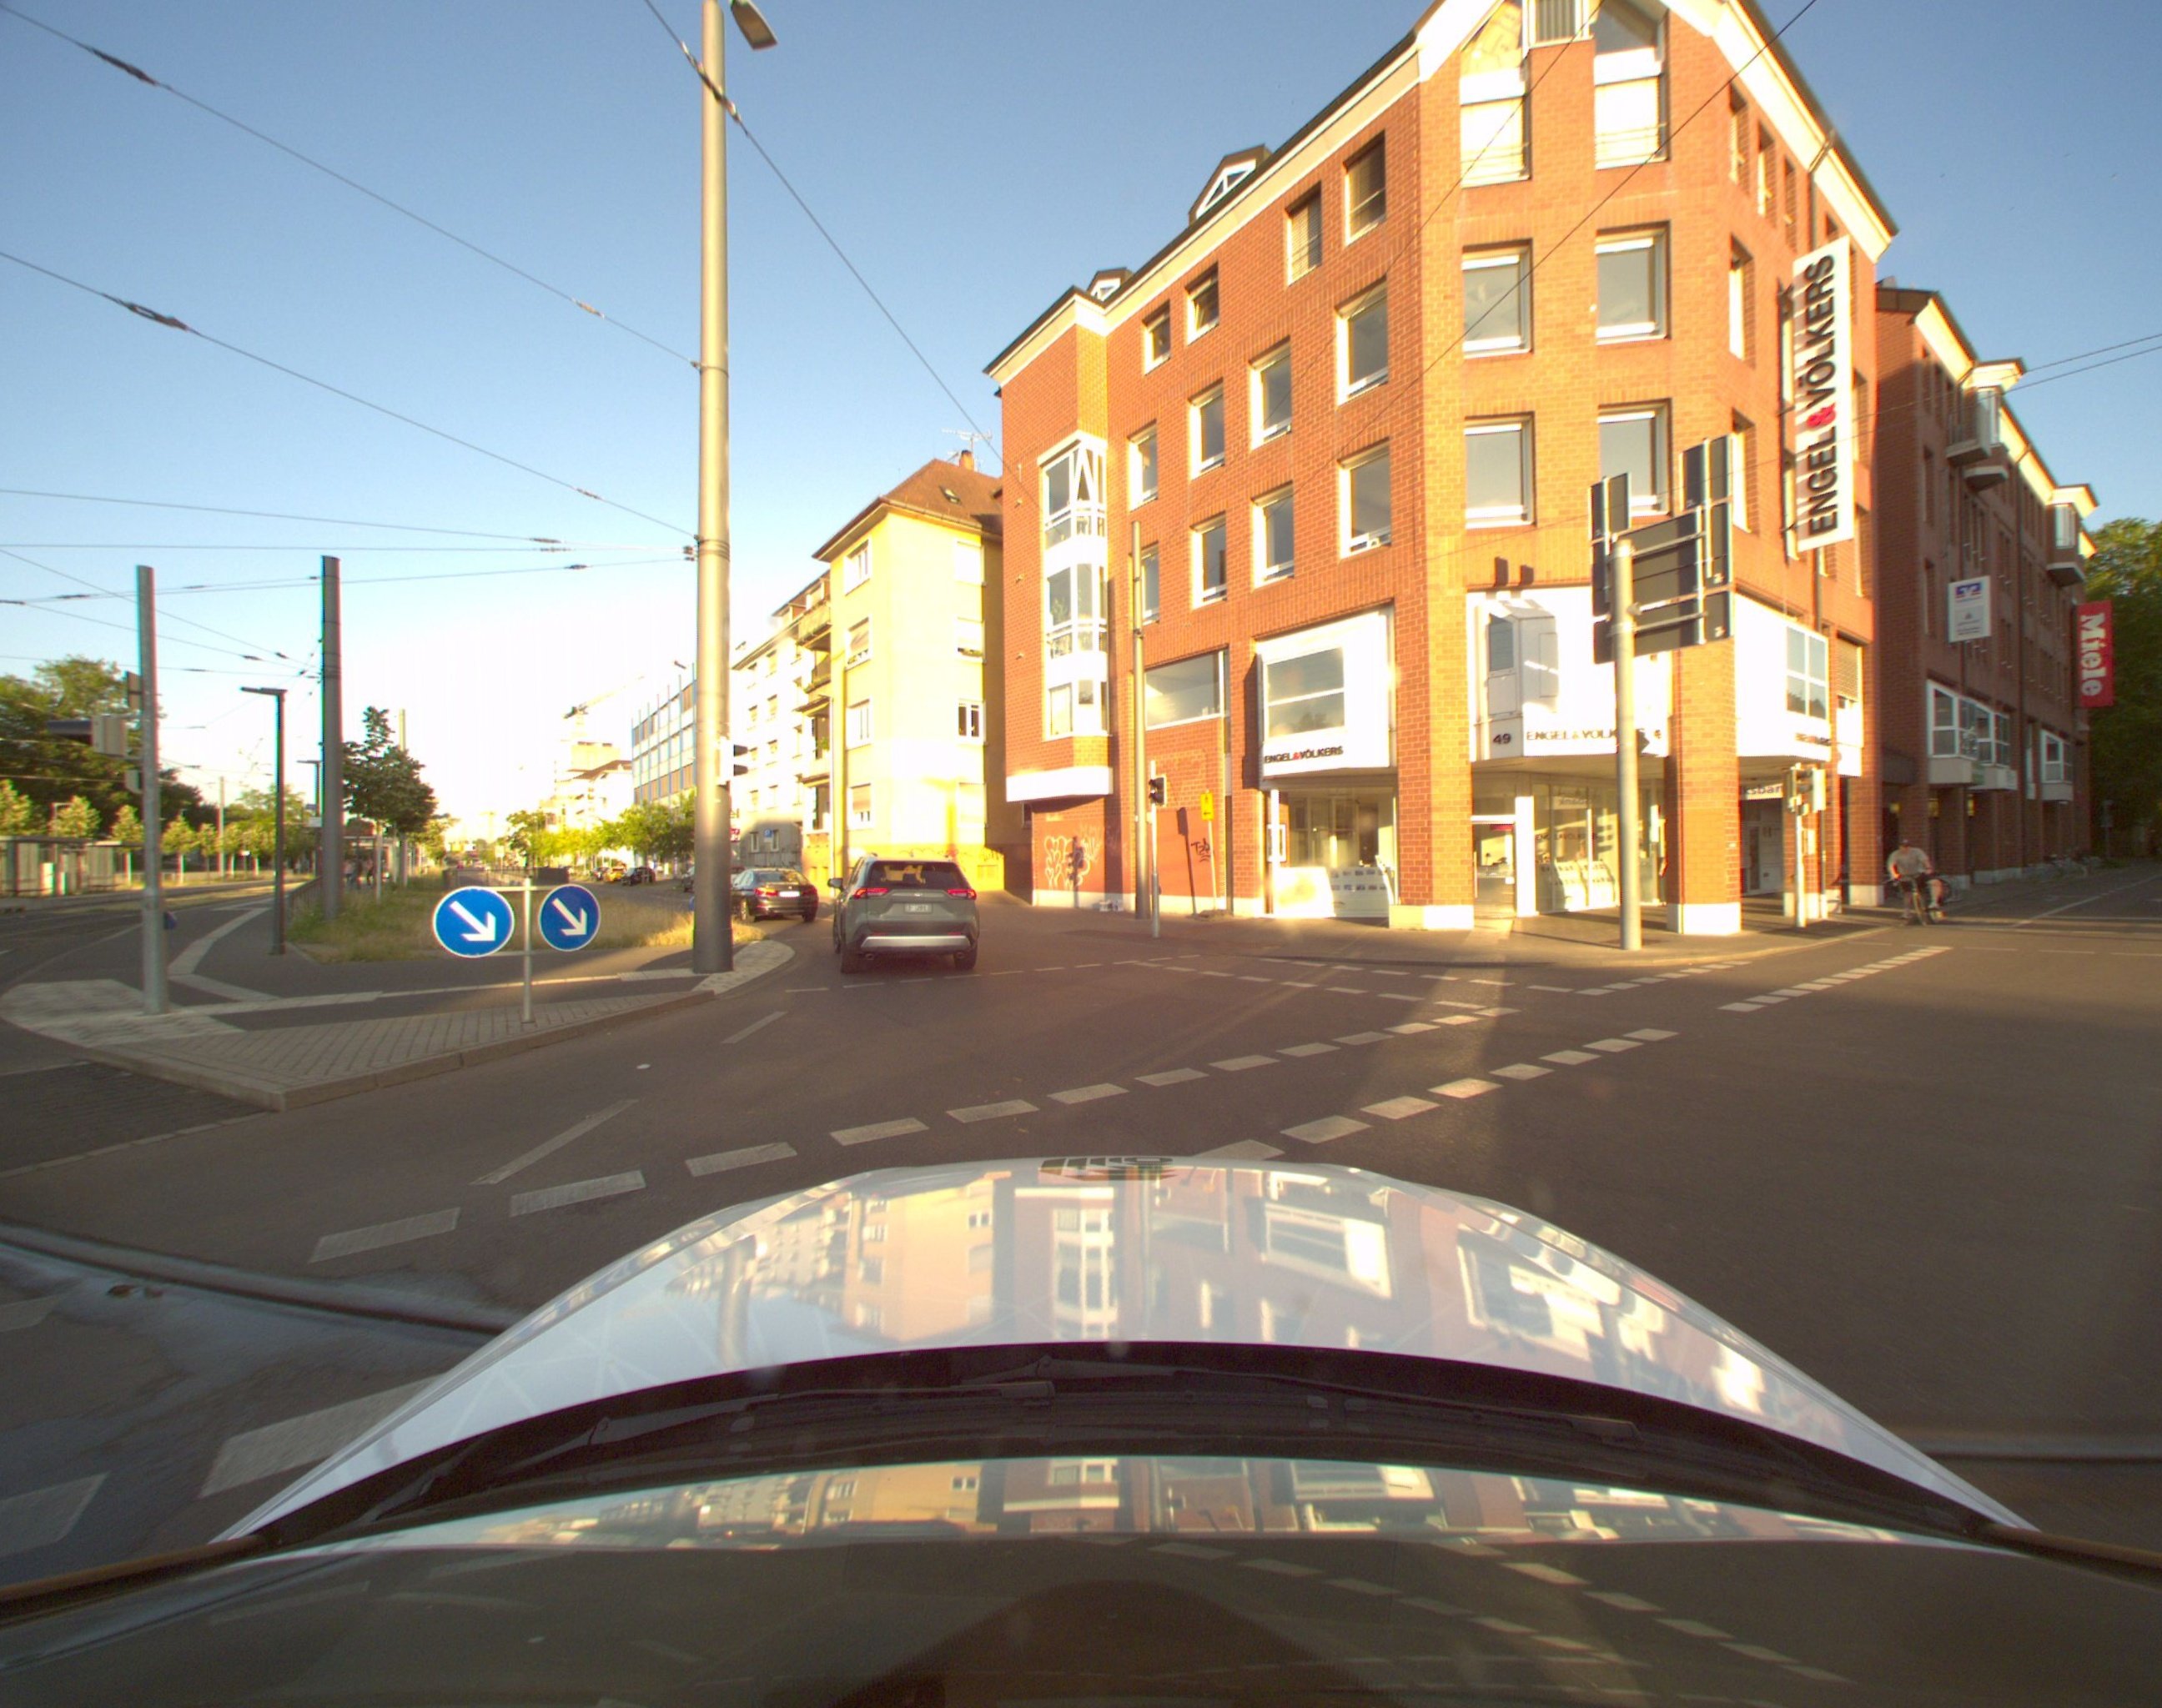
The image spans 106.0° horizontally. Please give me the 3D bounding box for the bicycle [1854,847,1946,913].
[{"bbox_3d":[17.655,0.506,17.522,2.809,1.291,1.006,-1,2,-37],"label":"bicycle"}]

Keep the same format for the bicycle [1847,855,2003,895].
[{"bbox_3d":[22.099,0.575,21.406,0.815,0.972,2.710,0,-2,-33],"label":"bicycle"}]

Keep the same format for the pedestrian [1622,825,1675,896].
[{"bbox_3d":[14.425,0.141,20.718,0.933,1.751,0.805,-1,2,-32],"label":"pedestrian"}]

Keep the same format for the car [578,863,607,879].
[{"bbox_3d":[-48.060,1.662,80.128,1.835,1.454,4.080,-2,0,-40],"label":"car"}]

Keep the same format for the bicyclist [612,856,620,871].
[{"bbox_3d":[-49.686,1.030,87.084,0.563,1.475,0.615,-5,1,-40],"label":"bicyclist"}]

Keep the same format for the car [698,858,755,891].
[{"bbox_3d":[-18.680,1.092,42.829,1.684,1.517,3.558,-6,2,-41],"label":"car"}]

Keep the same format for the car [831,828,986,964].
[{"bbox_3d":[-2.811,0.600,12.551,1.863,1.714,4.165,0,-2,-19],"label":"car"}]

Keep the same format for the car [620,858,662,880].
[{"bbox_3d":[-33.903,1.115,62.677,1.835,1.566,4.754,-3,1,-40],"label":"car"}]

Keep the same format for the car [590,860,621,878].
[{"bbox_3d":[-42.069,1.336,71.949,1.697,1.454,4.081,0,-1,-40],"label":"car"}]

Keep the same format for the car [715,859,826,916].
[{"bbox_3d":[-8.817,0.926,22.925,1.872,1.463,4.145,1,-3,-36],"label":"car"}]

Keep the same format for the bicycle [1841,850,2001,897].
[{"bbox_3d":[21.365,0.502,20.804,0.815,1.103,2.711,-1,-1,-33],"label":"bicycle"}]

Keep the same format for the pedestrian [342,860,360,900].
[{"bbox_3d":[-32.573,1.150,36.332,0.474,1.787,0.620,-1,-1,-31],"label":"pedestrian"}]

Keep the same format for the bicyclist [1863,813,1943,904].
[{"bbox_3d":[17.677,0.071,17.519,1.240,1.861,1.003,0,2,-37],"label":"bicyclist"}]

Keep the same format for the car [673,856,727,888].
[{"bbox_3d":[-21.861,1.060,46.660,1.771,1.654,4.476,-3,0,-38],"label":"car"}]

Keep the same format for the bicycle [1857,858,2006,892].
[{"bbox_3d":[23.010,0.568,22.102,0.816,0.863,2.709,-1,-1,-37],"label":"bicycle"}]

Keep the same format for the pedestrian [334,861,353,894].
[{"bbox_3d":[-40.250,1.258,44.453,0.628,1.744,0.731,-1,0,44],"label":"pedestrian"}]
